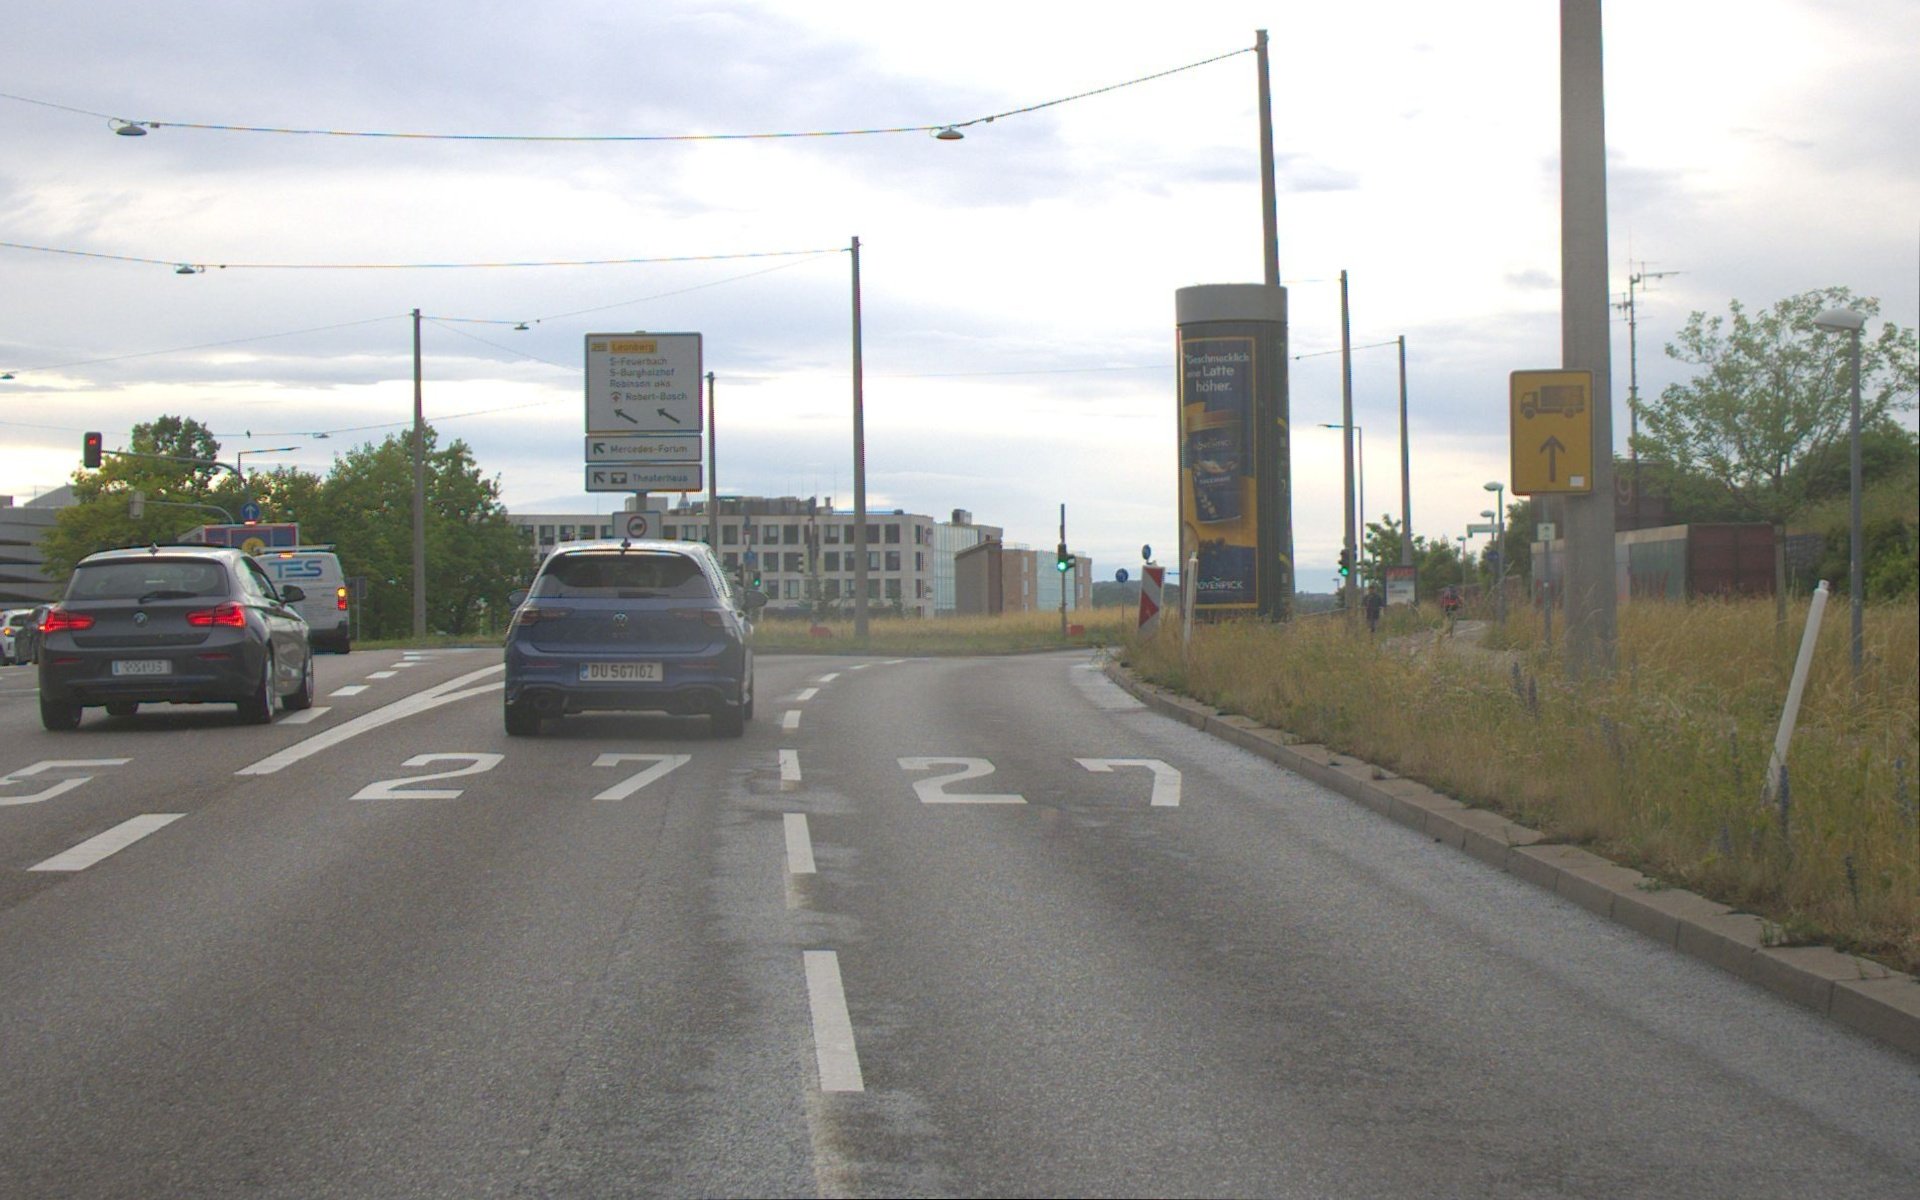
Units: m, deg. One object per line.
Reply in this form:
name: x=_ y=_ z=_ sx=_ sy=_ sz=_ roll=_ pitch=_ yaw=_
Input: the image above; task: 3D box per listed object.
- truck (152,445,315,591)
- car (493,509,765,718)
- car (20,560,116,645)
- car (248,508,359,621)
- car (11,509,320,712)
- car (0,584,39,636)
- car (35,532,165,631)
truck: x=-16.953 y=-1.843 z=79.916 sx=2.665 sy=3.209 sz=6.550 roll=1 pitch=0 yaw=-21
car: x=-2.462 y=0.046 z=26.402 sx=1.838 sy=1.389 sz=4.001 roll=1 pitch=2 yaw=-3
car: x=-23.607 y=0.038 z=90.901 sx=1.993 sy=2.006 sz=4.001 roll=-3 pitch=3 yaw=-20
car: x=-12.201 y=-0.626 z=63.875 sx=1.904 sy=1.966 sz=5.093 roll=-1 pitch=0 yaw=-11
car: x=-6.426 y=0.025 z=28.197 sx=1.869 sy=1.456 sz=3.977 roll=0 pitch=3 yaw=-4
car: x=-31.772 y=0.318 z=111.935 sx=1.893 sy=1.652 sz=4.604 roll=0 pitch=0 yaw=6
car: x=-14.590 y=-0.286 z=58.216 sx=1.904 sy=1.558 sz=4.001 roll=-2 pitch=0 yaw=-17
